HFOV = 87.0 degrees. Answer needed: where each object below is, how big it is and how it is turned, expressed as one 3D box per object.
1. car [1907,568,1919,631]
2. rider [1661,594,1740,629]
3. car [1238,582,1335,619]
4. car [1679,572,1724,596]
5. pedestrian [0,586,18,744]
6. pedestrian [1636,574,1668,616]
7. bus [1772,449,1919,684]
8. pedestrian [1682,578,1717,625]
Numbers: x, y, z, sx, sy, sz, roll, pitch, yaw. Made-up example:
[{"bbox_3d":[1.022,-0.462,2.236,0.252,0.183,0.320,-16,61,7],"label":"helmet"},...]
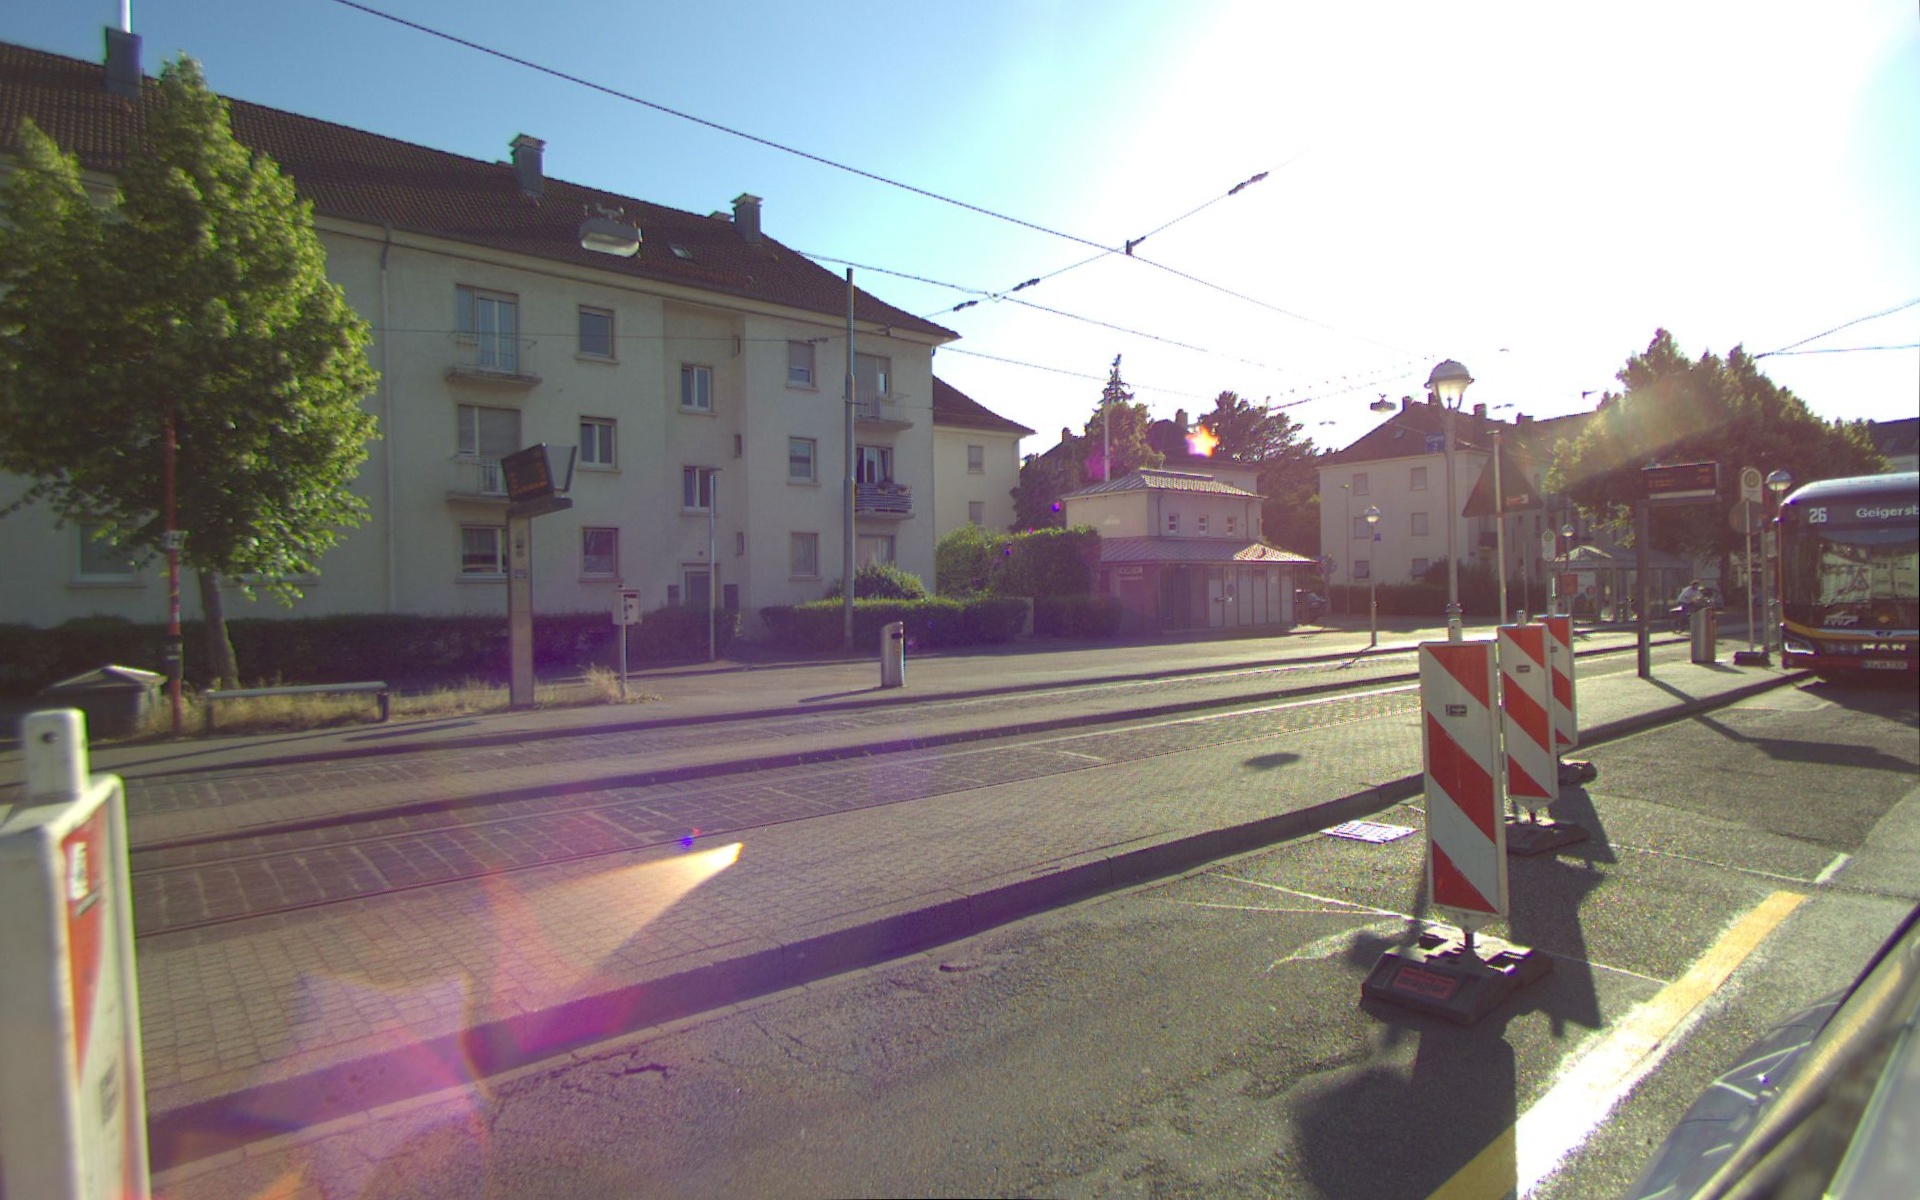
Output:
[{"bbox_3d":[25.001,-0.038,24.848,4.738,1.477,1.968,-1,1,-40],"label":"car"},{"bbox_3d":[22.309,0.338,30.527,0.568,1.004,1.861,-1,1,-25],"label":"rider"},{"bbox_3d":[15.879,0.029,49.357,1.964,1.694,4.052,-1,0,-37],"label":"car"},{"bbox_3d":[58.748,-1.289,80.169,3.929,1.887,1.998,-1,1,-40],"label":"car"},{"bbox_3d":[-10.413,0.678,10.405,0.783,1.640,0.819,0,1,25],"label":"pedestrian"},{"bbox_3d":[27.109,-0.206,39.637,0.814,1.631,0.838,0,1,18],"label":"pedestrian"},{"bbox_3d":[17.952,-0.559,18.479,11.820,3.344,2.747,-1,1,-41],"label":"bus"},{"bbox_3d":[22.304,0.035,30.513,0.568,1.398,0.660,-1,1,-25],"label":"pedestrian"}]
